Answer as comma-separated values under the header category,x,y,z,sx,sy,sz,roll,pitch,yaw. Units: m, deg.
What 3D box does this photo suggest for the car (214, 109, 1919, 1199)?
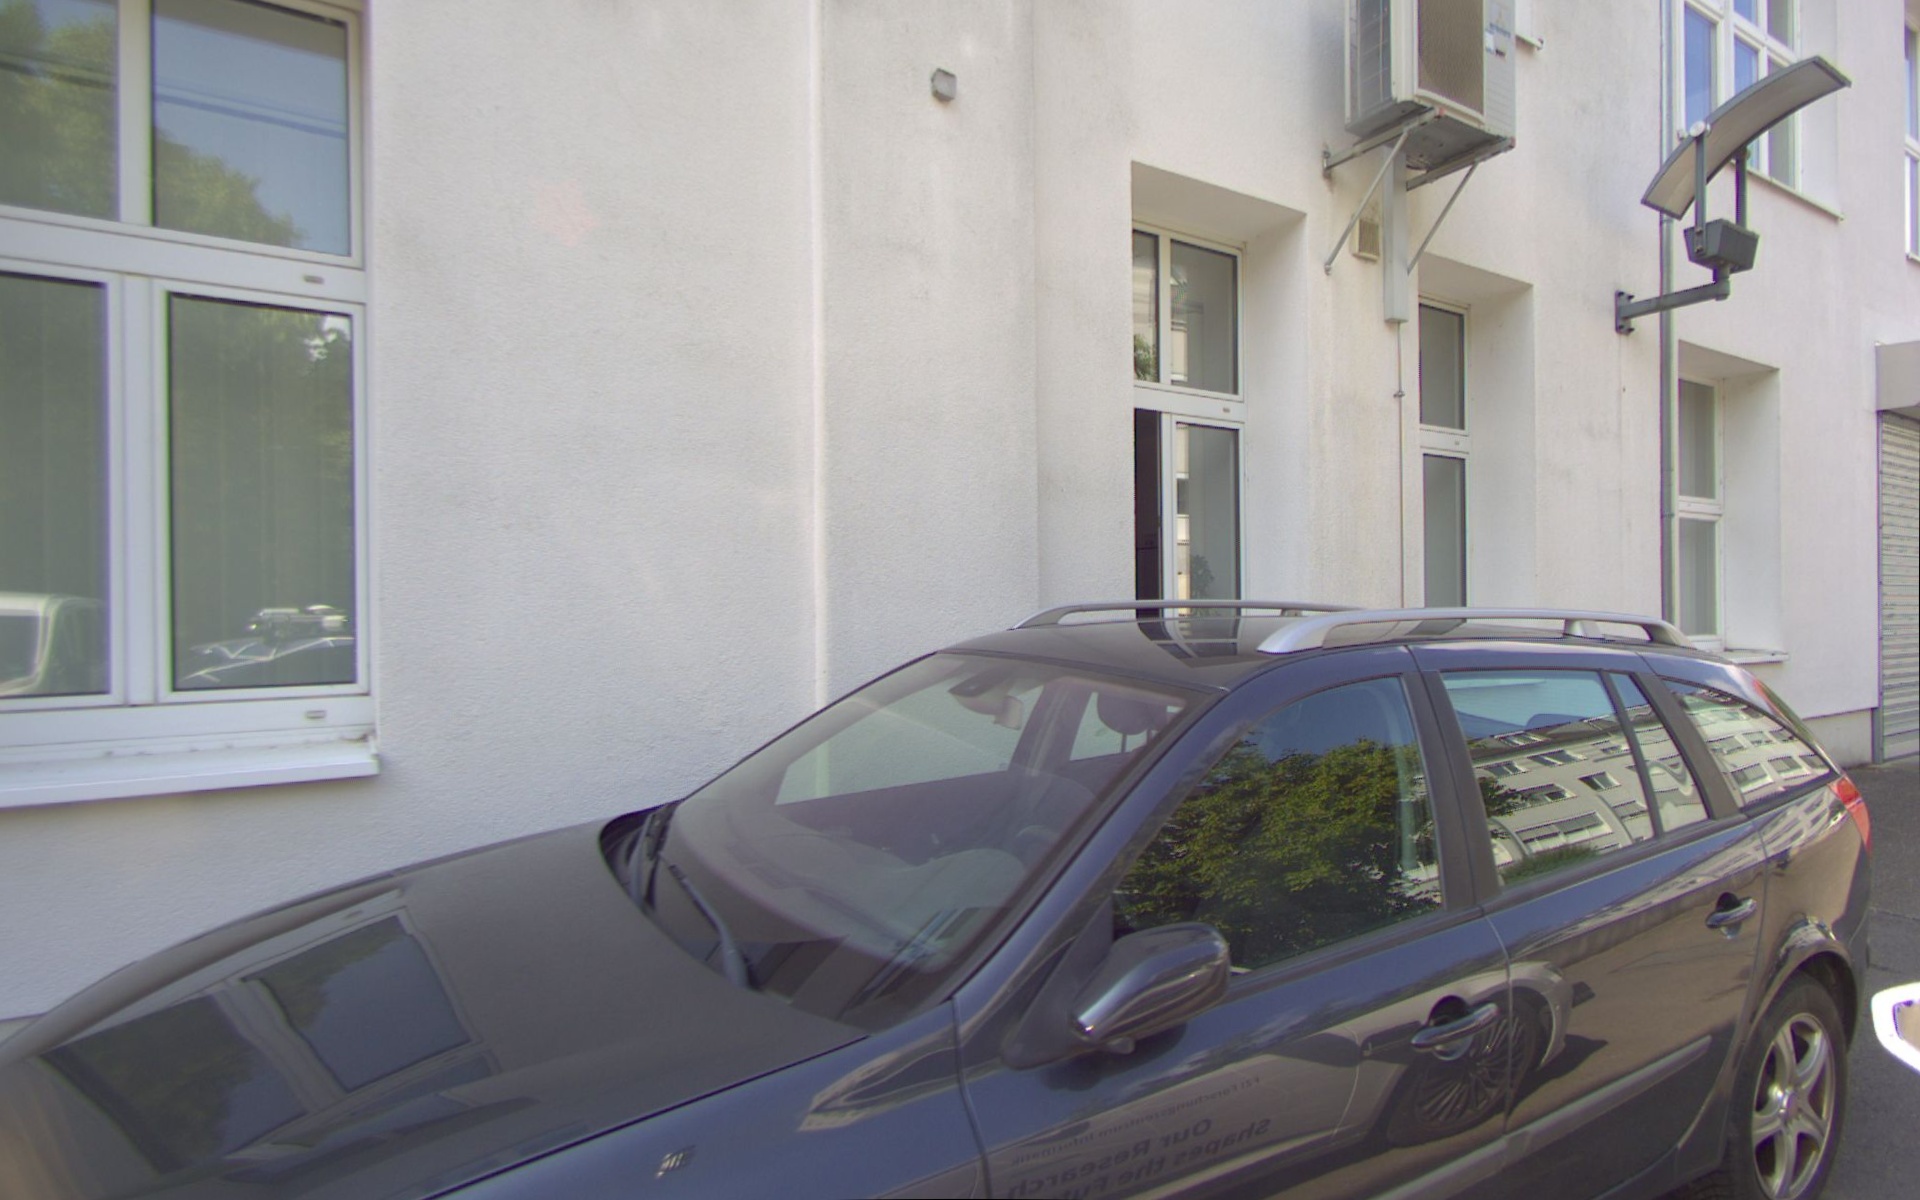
category,x,y,z,sx,sy,sz,roll,pitch,yaw
car,0.798,0.519,2.663,4.295,1.461,1.869,6,0,-32
